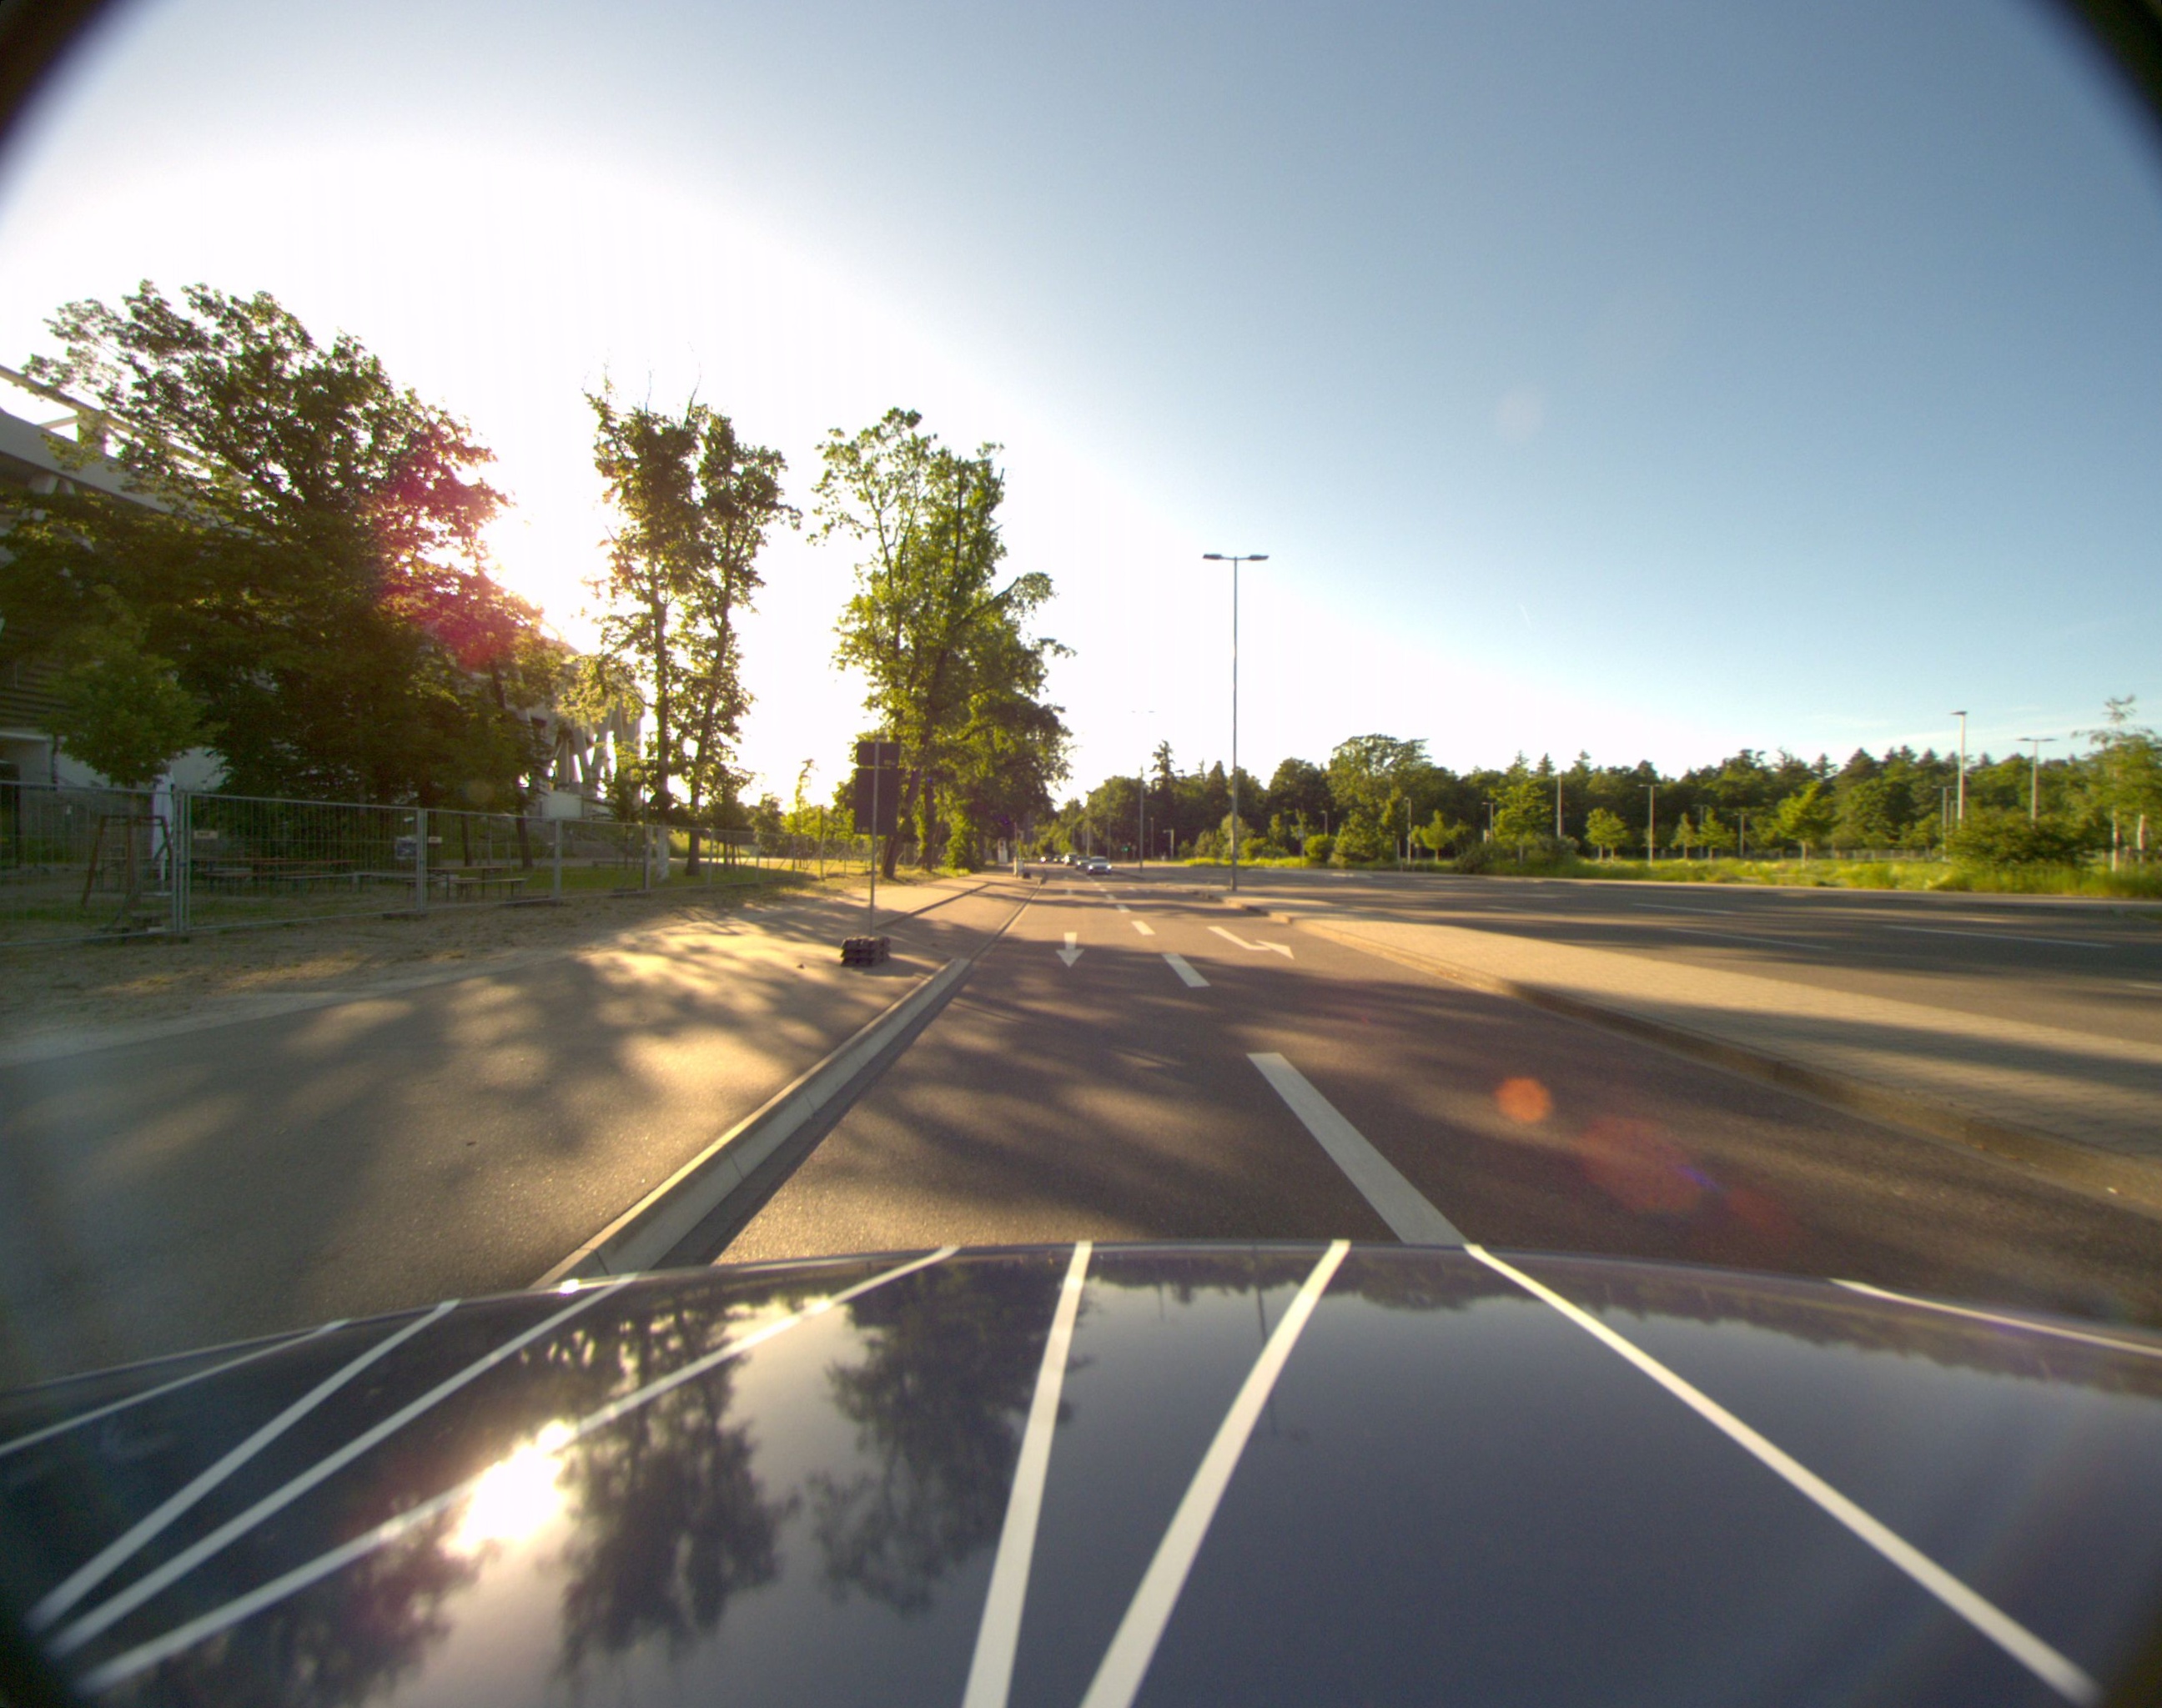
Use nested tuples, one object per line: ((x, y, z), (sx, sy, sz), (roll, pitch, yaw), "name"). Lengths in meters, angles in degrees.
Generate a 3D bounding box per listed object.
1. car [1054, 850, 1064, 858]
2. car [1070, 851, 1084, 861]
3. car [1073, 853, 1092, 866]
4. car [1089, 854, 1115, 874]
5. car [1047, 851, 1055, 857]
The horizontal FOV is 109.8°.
((-4.199, -0.046, 143.185), (1.841, 1.395, 4.990), (-1, 0, -2), "car")
((-0.599, 0.228, 108.850), (1.841, 1.395, 4.990), (0, 0, -3), "car")
((0.133, 0.566, 84.706), (1.841, 1.395, 4.990), (-1, 0, -3), "car")
((1.600, 0.761, 59.515), (1.841, 1.395, 3.999), (-1, 0, -1), "car")
((-8.033, -0.028, 202.098), (1.842, 1.395, 4.989), (-1, 0, -4), "car")
